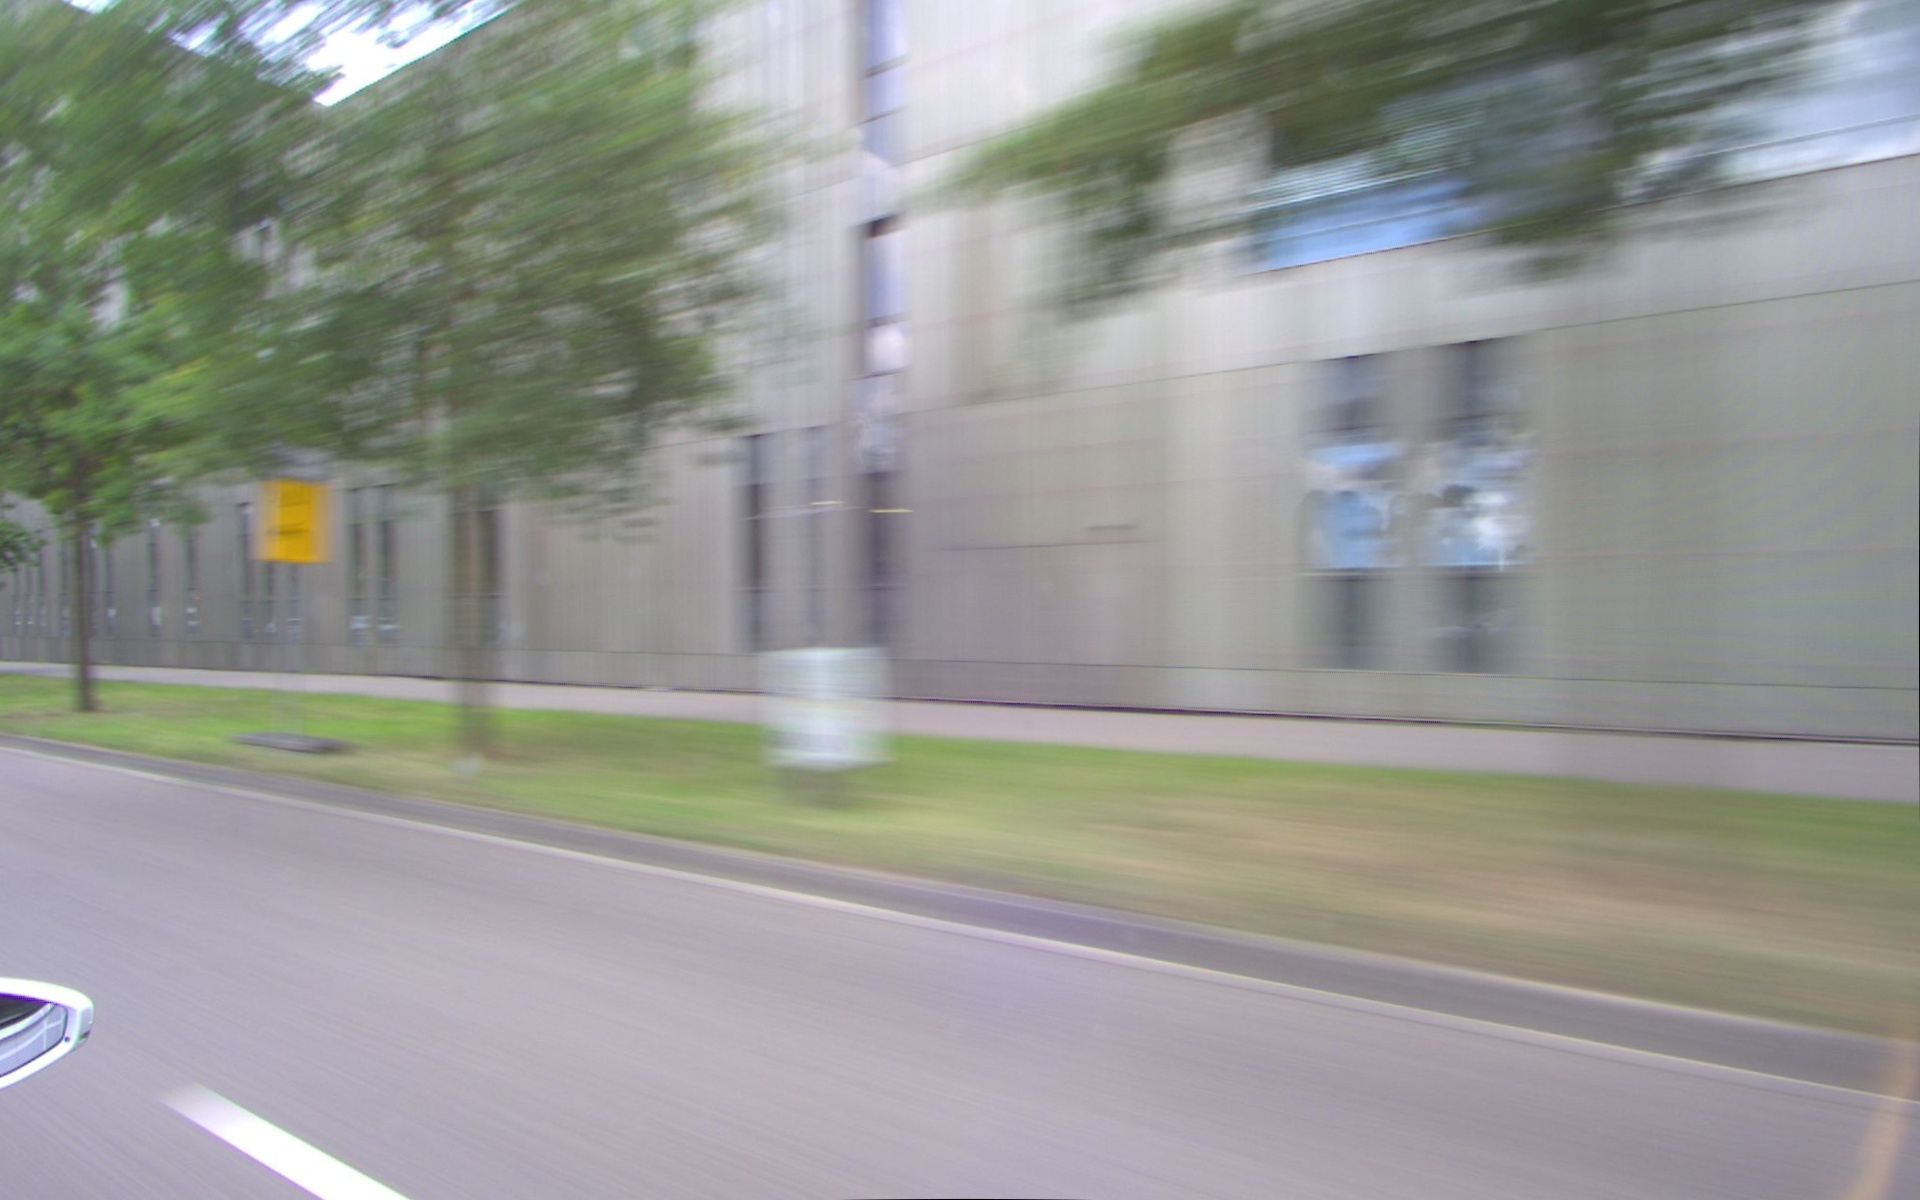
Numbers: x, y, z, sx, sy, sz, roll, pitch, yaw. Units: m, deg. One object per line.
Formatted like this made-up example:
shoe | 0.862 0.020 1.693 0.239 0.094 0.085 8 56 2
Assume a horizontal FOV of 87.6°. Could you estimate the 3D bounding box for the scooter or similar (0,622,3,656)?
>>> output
scooter or similar | -36.915 1.471 37.690 2.444 1.263 0.703 -1 1 33
